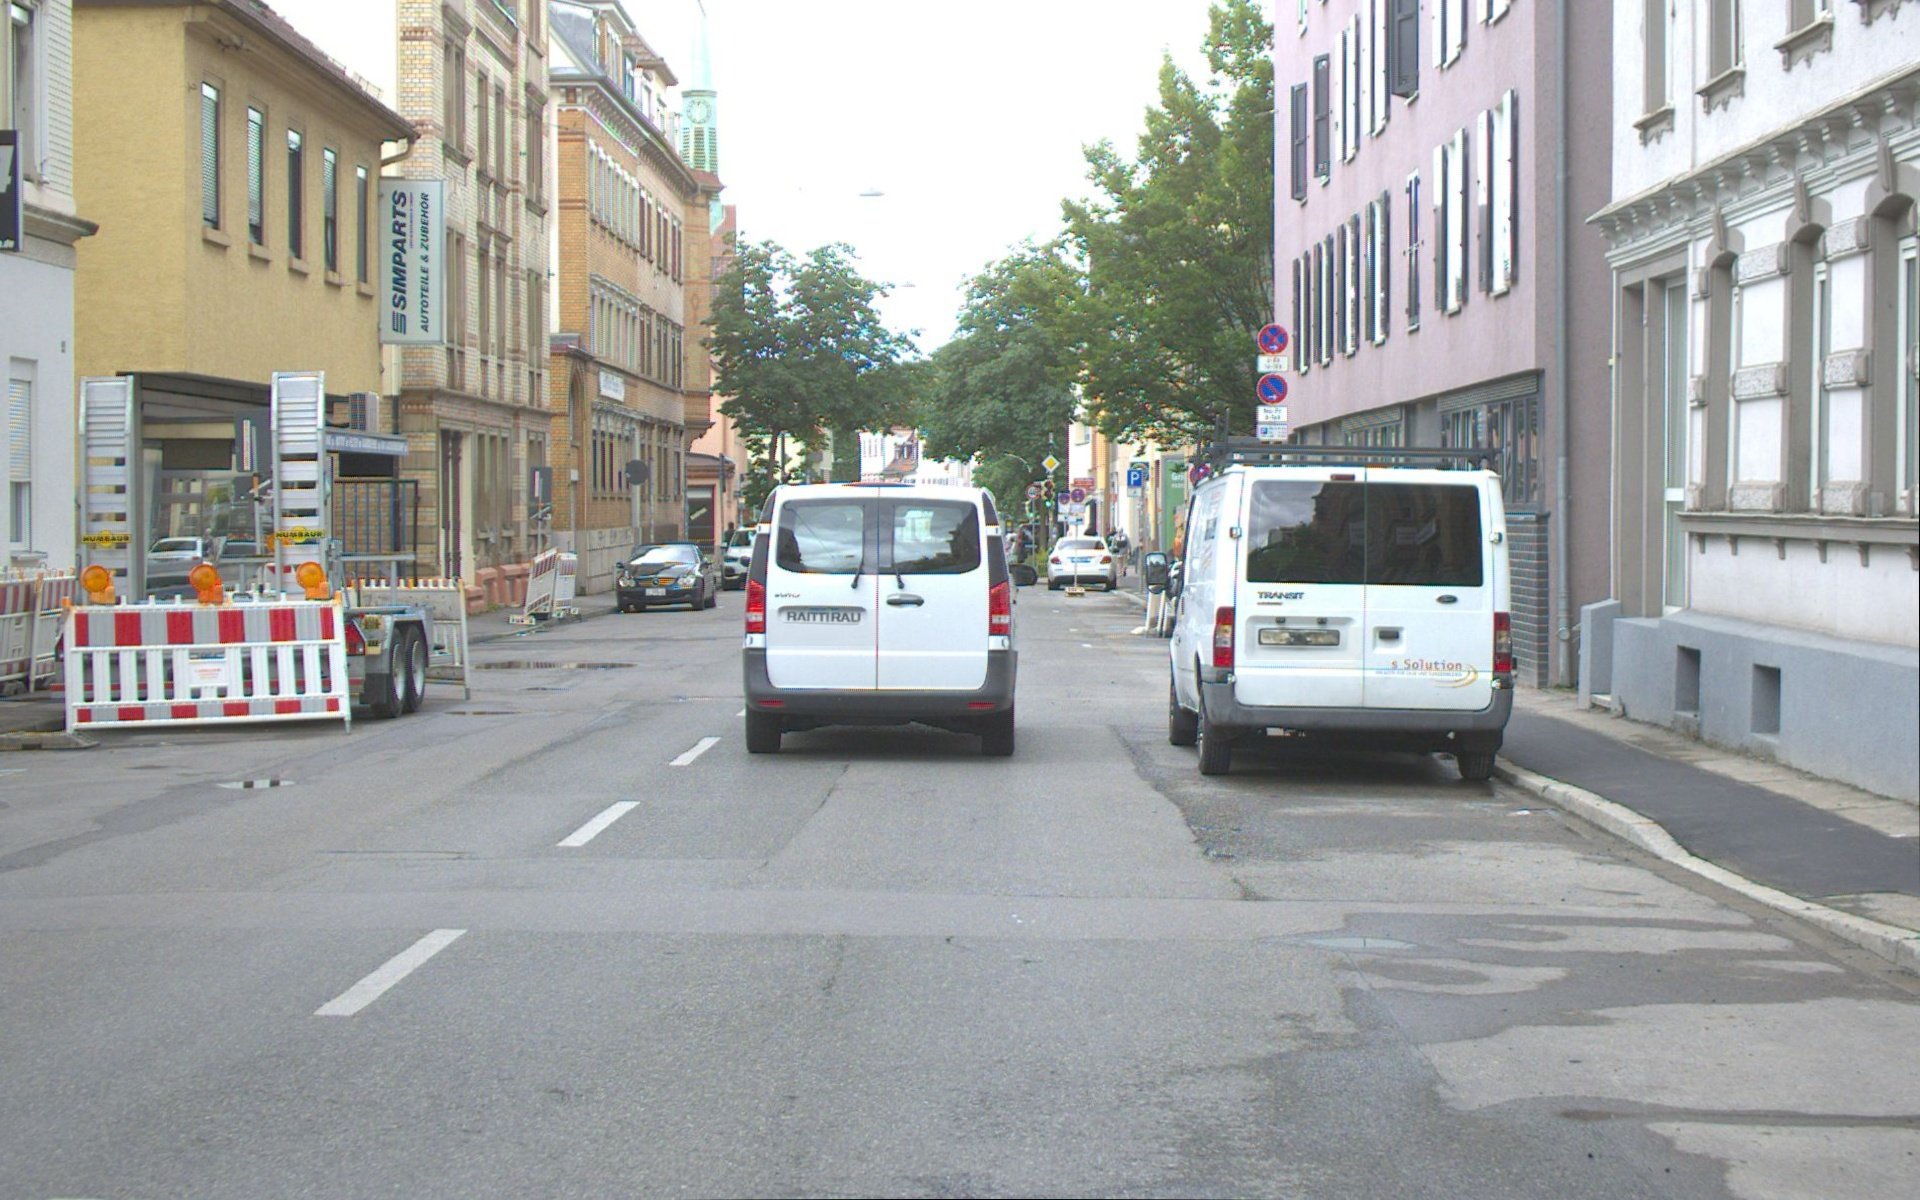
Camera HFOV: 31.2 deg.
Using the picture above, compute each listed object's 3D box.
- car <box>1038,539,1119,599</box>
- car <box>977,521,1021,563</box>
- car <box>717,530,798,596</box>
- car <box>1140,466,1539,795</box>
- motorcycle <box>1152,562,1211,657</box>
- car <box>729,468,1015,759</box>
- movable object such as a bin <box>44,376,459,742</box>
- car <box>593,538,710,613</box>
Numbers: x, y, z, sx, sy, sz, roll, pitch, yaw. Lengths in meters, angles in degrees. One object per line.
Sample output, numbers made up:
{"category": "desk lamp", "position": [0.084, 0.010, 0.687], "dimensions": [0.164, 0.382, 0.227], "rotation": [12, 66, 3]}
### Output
{"category": "car", "position": [3.230, -0.877, 94.559], "dimensions": [1.993, 1.480, 4.000], "rotation": [3, 1, 0]}
{"category": "car", "position": [1.895, -2.785, 165.916], "dimensions": [1.993, 2.007, 4.000], "rotation": [0, 0, 2]}
{"category": "car", "position": [-5.555, -1.051, 94.801], "dimensions": [1.993, 1.735, 4.000], "rotation": [1, 1, 0]}
{"category": "car", "position": [2.496, 0.141, 23.915], "dimensions": [2.128, 1.998, 4.926], "rotation": [1, 1, -1]}
{"category": "motorcycle", "position": [3.000, 0.107, 46.469], "dimensions": [0.644, 1.242, 2.267], "rotation": [0, 1, 8]}
{"category": "car", "position": [-0.559, 0.054, 25.141], "dimensions": [1.891, 1.922, 4.645], "rotation": [0, 1, 1]}
{"category": "movable object such as a bin", "position": [-5.918, -0.372, 29.394], "dimensions": [2.537, 2.815, 4.539], "rotation": [-2, 1, 0]}
{"category": "car", "position": [-6.247, -0.516, 69.949], "dimensions": [1.993, 1.437, 4.000], "rotation": [-1, 1, 0]}
